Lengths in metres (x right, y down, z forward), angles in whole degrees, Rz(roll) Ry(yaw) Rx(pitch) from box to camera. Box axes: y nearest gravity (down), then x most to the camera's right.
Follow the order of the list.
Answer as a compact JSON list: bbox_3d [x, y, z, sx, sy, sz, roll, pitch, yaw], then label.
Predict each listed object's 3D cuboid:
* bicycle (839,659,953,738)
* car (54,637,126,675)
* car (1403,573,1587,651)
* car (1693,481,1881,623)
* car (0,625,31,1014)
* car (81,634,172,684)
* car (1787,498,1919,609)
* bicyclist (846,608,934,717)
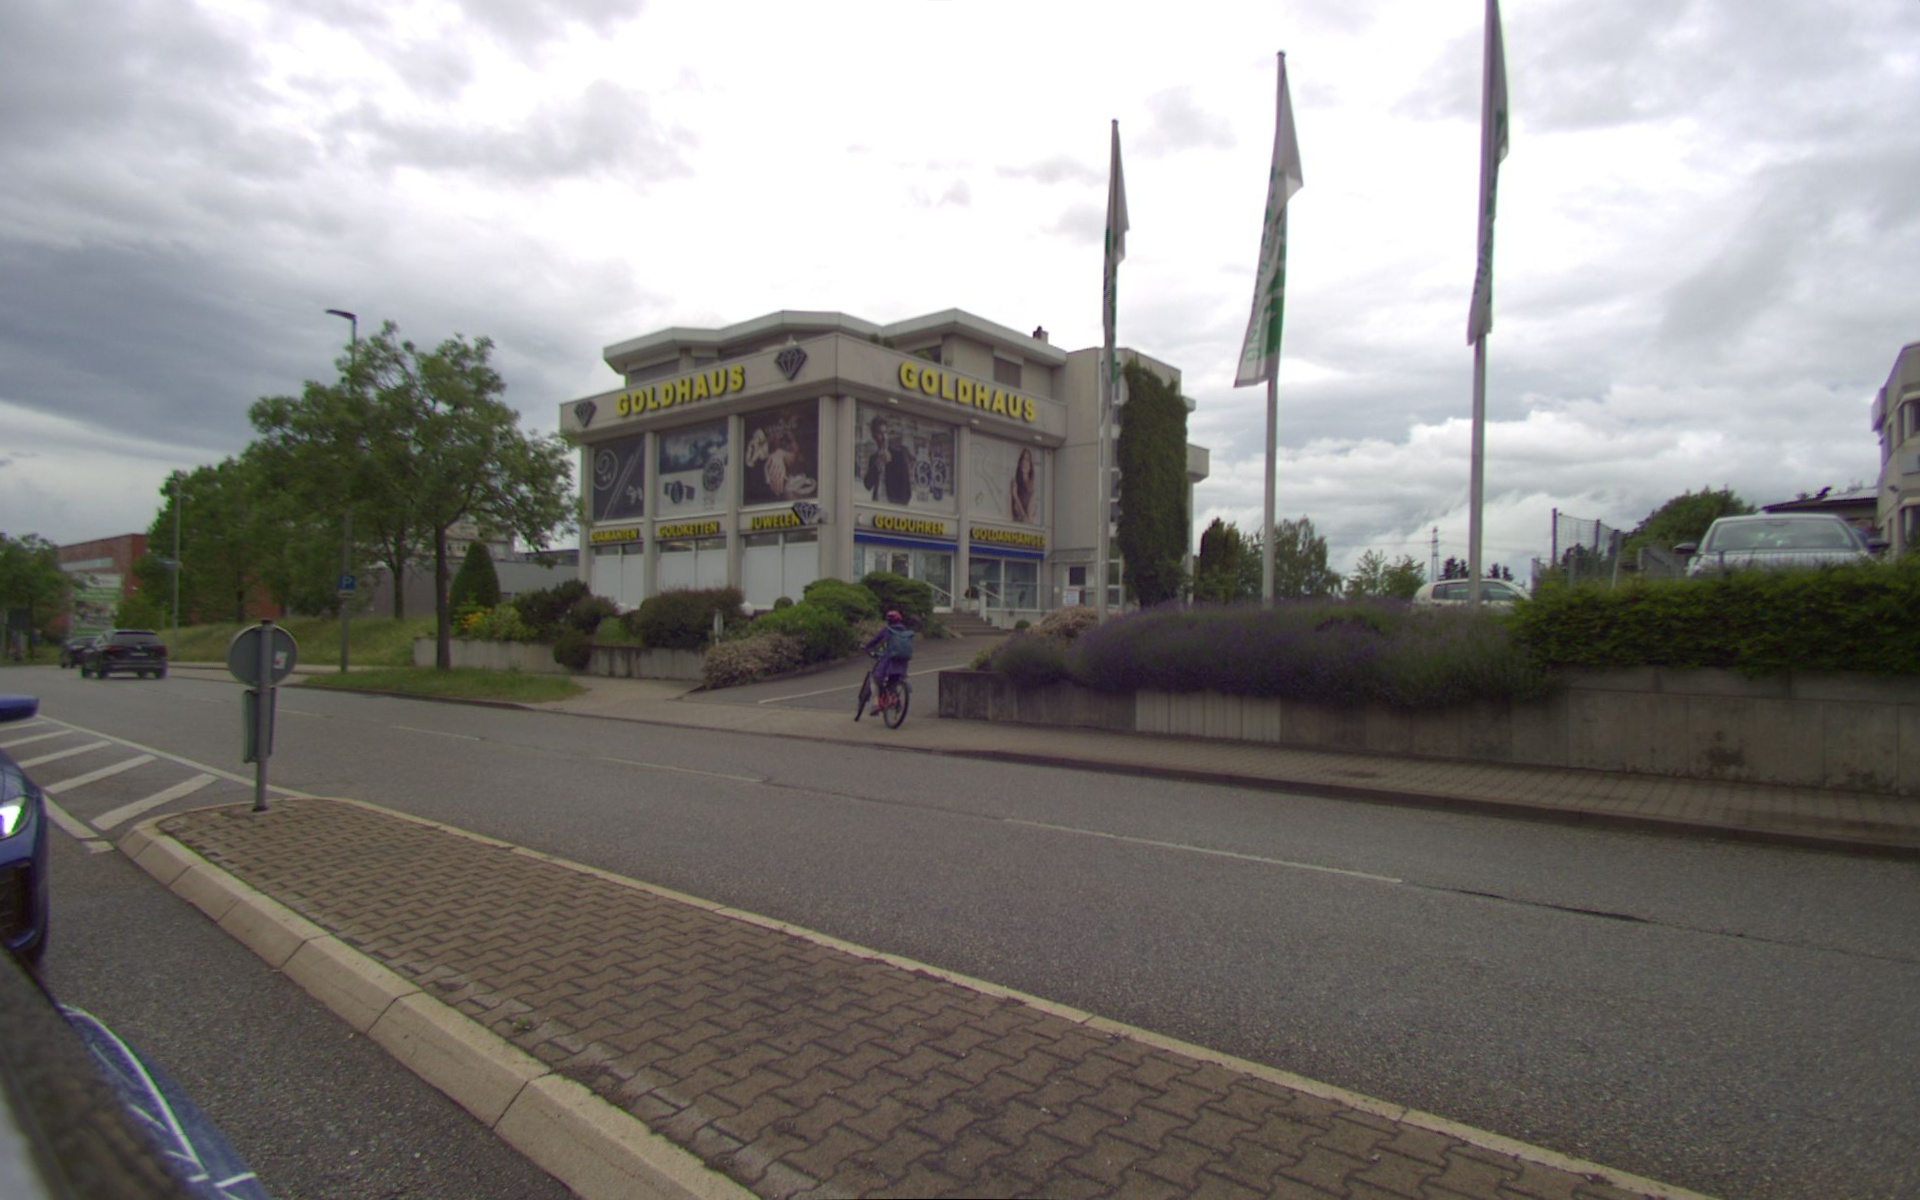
[{"bbox_3d":[-1.002,1.416,15.018,0.894,0.820,2.301,-5,3,-24],"label":"bicycle"},{"bbox_3d":[-47.056,3.037,54.727,4.541,1.905,2.320,-4,-4,41],"label":"car"},{"bbox_3d":[11.949,0.303,22.690,3.384,1.609,1.511,-2,-2,41],"label":"car"},{"bbox_3d":[9.476,-0.427,11.556,1.454,1.347,3.350,-2,-2,42],"label":"car"},{"bbox_3d":[-5.895,0.857,4.682,4.593,1.468,1.762,-1,-1,40],"label":"car"},{"bbox_3d":[-28.630,2.033,34.736,4.001,1.608,1.971,-4,-4,44],"label":"car"},{"bbox_3d":[14.022,-0.640,15.929,1.452,1.484,3.353,-2,-2,38],"label":"car"},{"bbox_3d":[-1.049,0.898,15.024,0.894,1.453,1.031,-5,3,-24],"label":"bicyclist"}]
